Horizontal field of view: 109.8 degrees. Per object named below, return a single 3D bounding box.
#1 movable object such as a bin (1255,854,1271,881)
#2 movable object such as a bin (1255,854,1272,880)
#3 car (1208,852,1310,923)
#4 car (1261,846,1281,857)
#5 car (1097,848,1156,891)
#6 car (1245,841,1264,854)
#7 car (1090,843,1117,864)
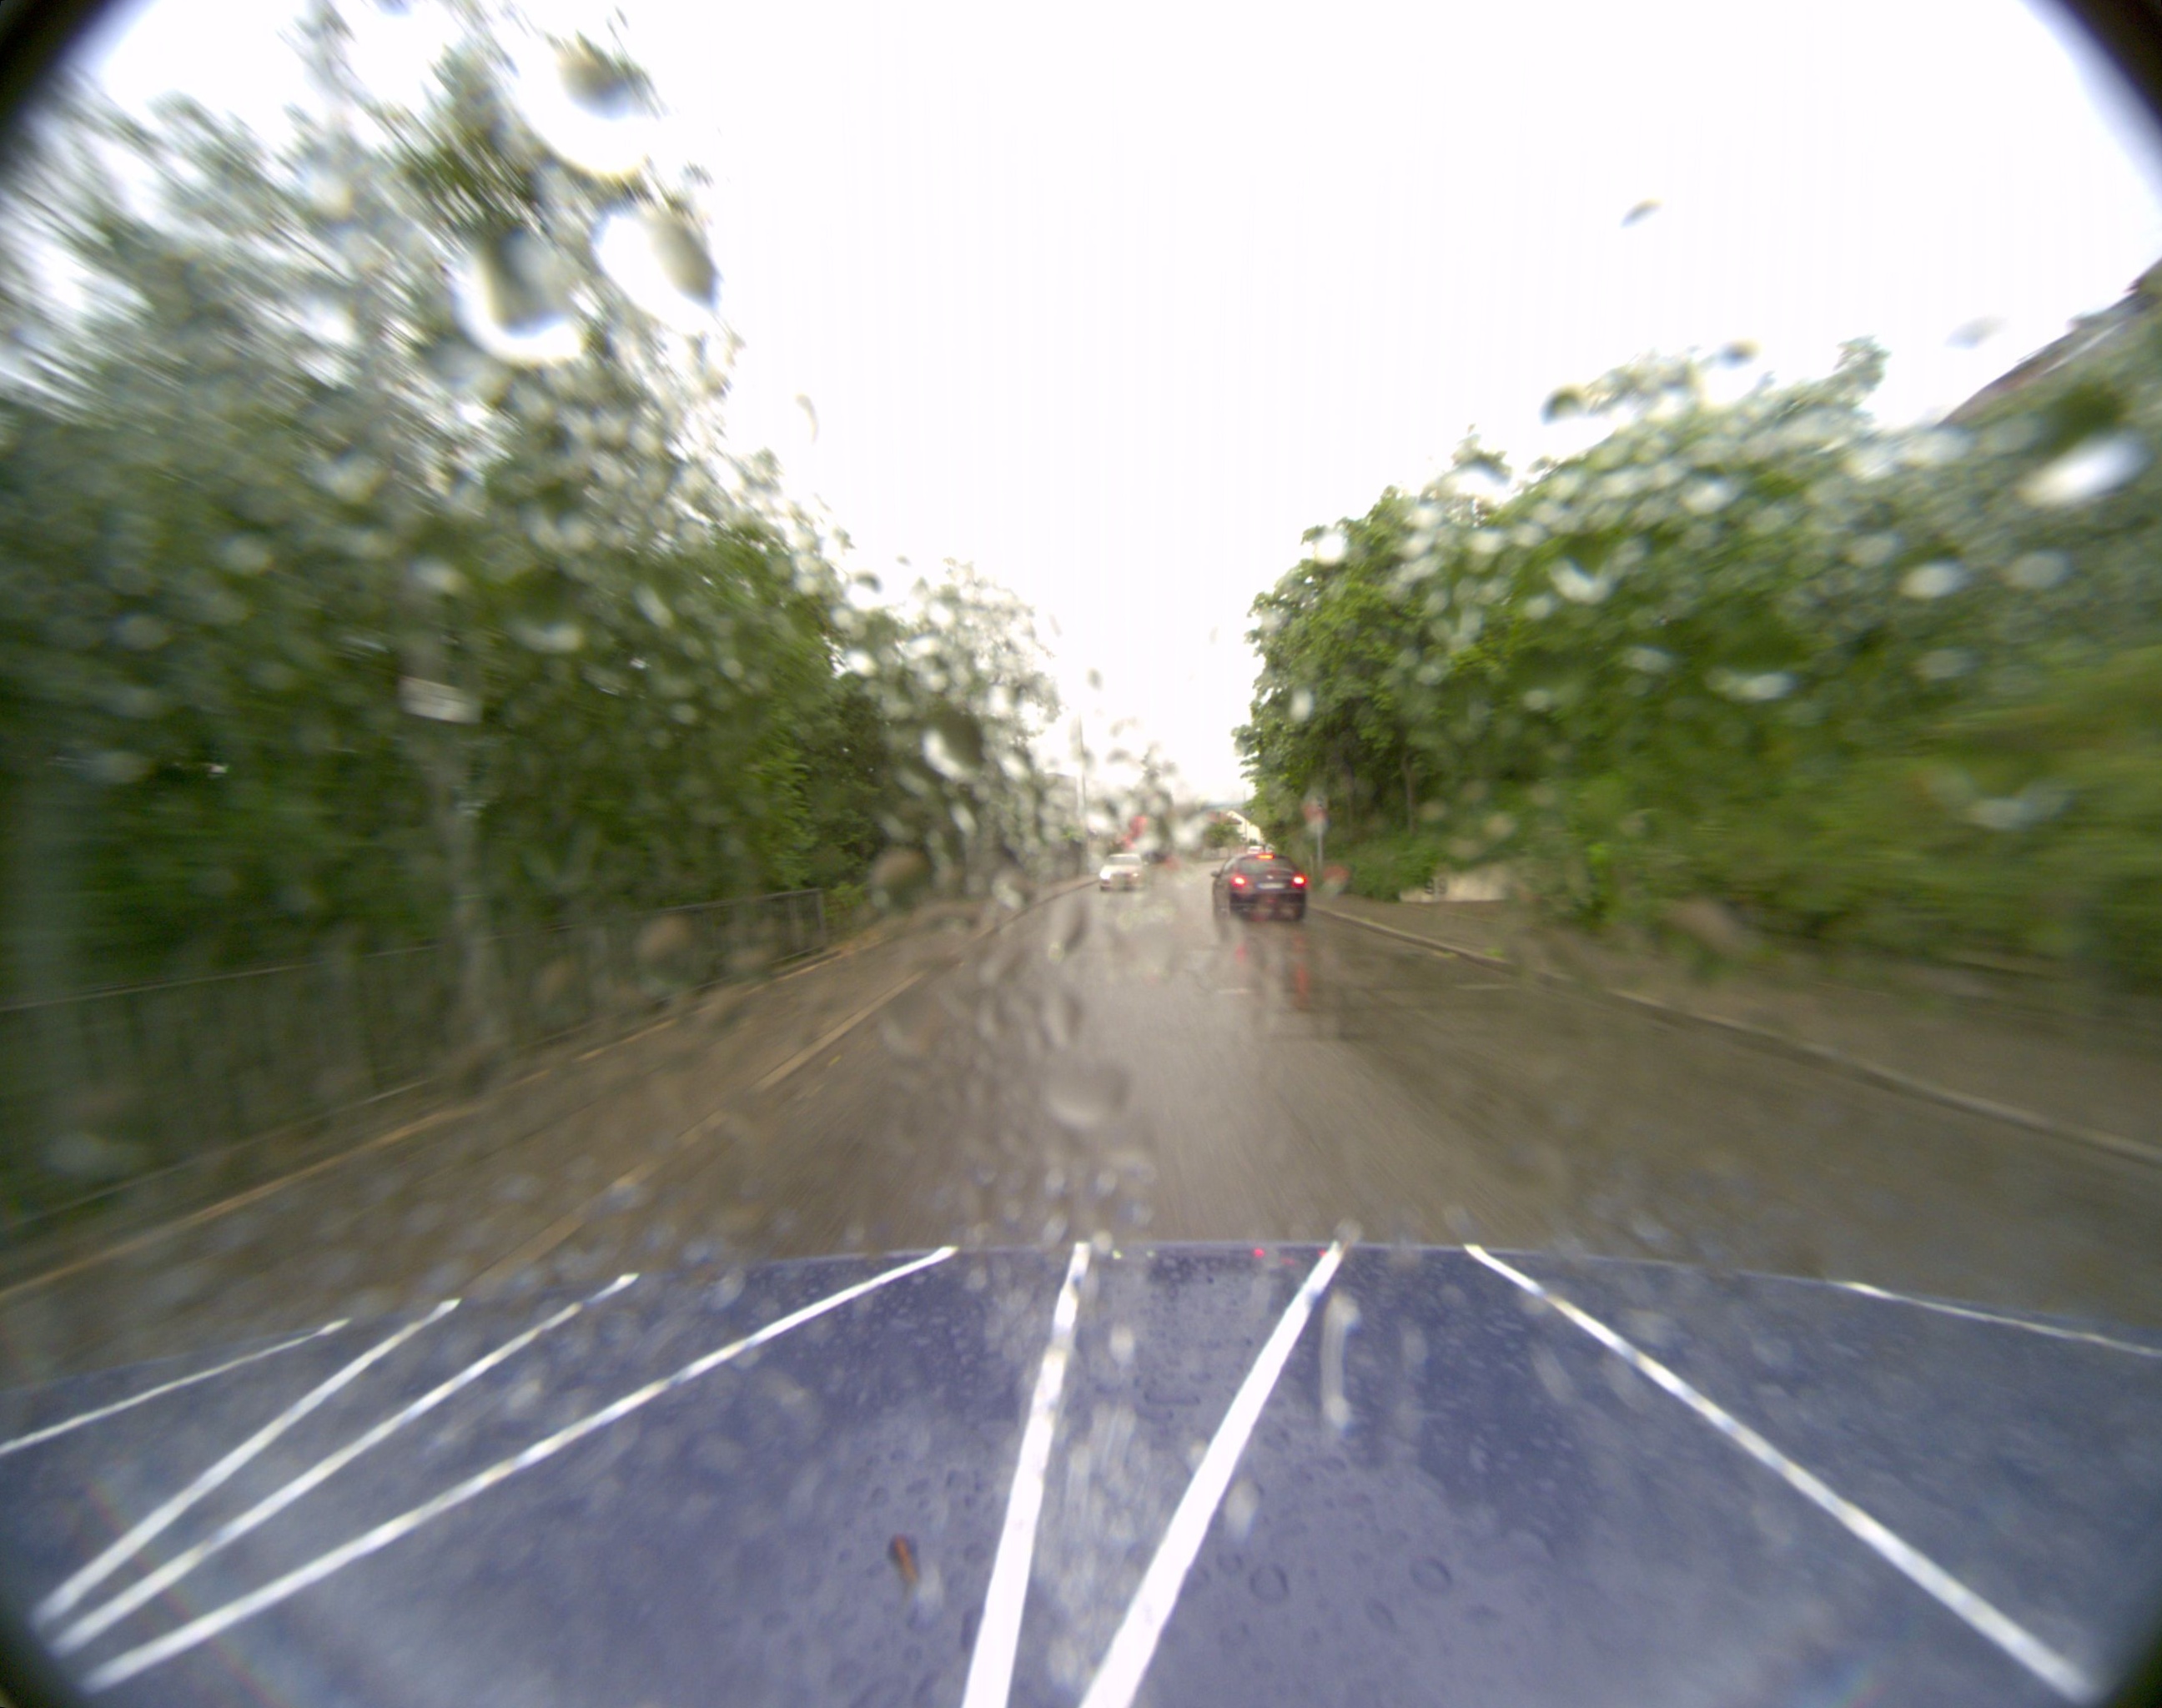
[{"bbox_3d":[7.673,0.560,32.051,0.649,1.109,0.505,0,1,9],"label":"movable object such as a bin"},{"bbox_3d":[7.819,0.551,32.633,0.649,1.097,0.673,0,1,9],"label":"movable object such as a bin"},{"bbox_3d":[3.904,0.682,17.184,1.654,1.377,3.530,-1,1,3],"label":"car"},{"bbox_3d":[30.330,-0.386,121.406,1.804,1.618,4.296,4,3,31],"label":"car"},{"bbox_3d":[1.920,0.569,30.913,1.796,1.455,4.002,2,2,11],"label":"car"},{"bbox_3d":[24.917,-1.005,109.131,1.780,1.793,4.714,1,2,25],"label":"car"},{"bbox_3d":[1.887,-0.081,62.540,1.630,1.485,3.428,6,2,9],"label":"car"}]
